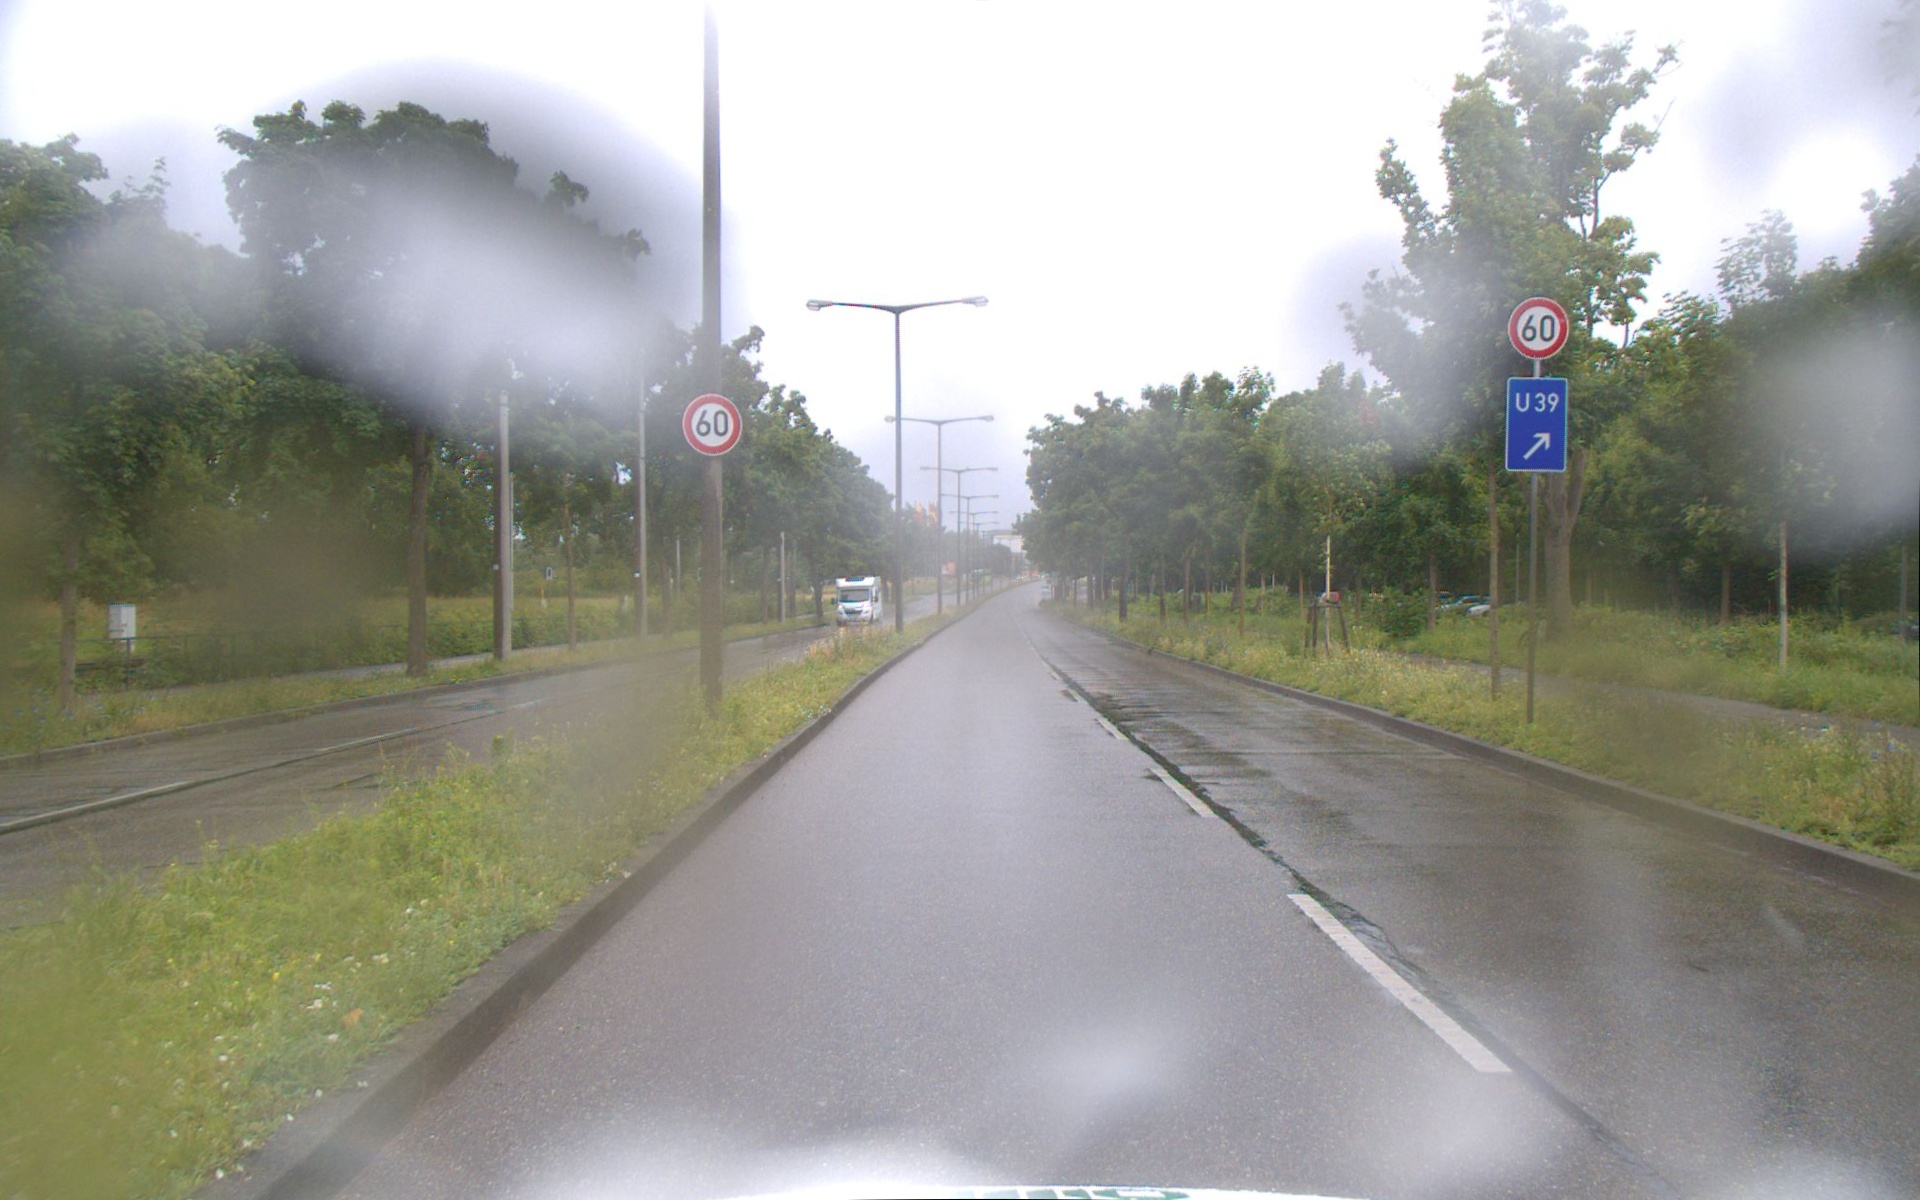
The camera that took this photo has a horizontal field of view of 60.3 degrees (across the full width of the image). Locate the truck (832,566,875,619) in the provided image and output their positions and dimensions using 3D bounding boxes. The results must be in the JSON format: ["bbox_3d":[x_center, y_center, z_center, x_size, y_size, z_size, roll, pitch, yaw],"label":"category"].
[{"bbox_3d":[-6.100,-0.418,95.073,2.094,2.893,5.073,-2,-1,0],"label":"truck"}]

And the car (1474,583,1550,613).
[{"bbox_3d":[32.644,-0.129,97.864,3.902,1.669,1.808,2,0,6],"label":"car"}]

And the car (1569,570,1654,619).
[{"bbox_3d":[32.921,-0.292,83.645,3.644,2.365,1.588,2,0,1],"label":"car"}]

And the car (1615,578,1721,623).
[{"bbox_3d":[31.364,0.016,73.350,3.873,1.852,1.897,2,0,1],"label":"car"}]

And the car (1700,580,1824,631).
[{"bbox_3d":[30.983,0.200,63.981,3.873,1.852,1.897,2,0,1],"label":"car"}]
